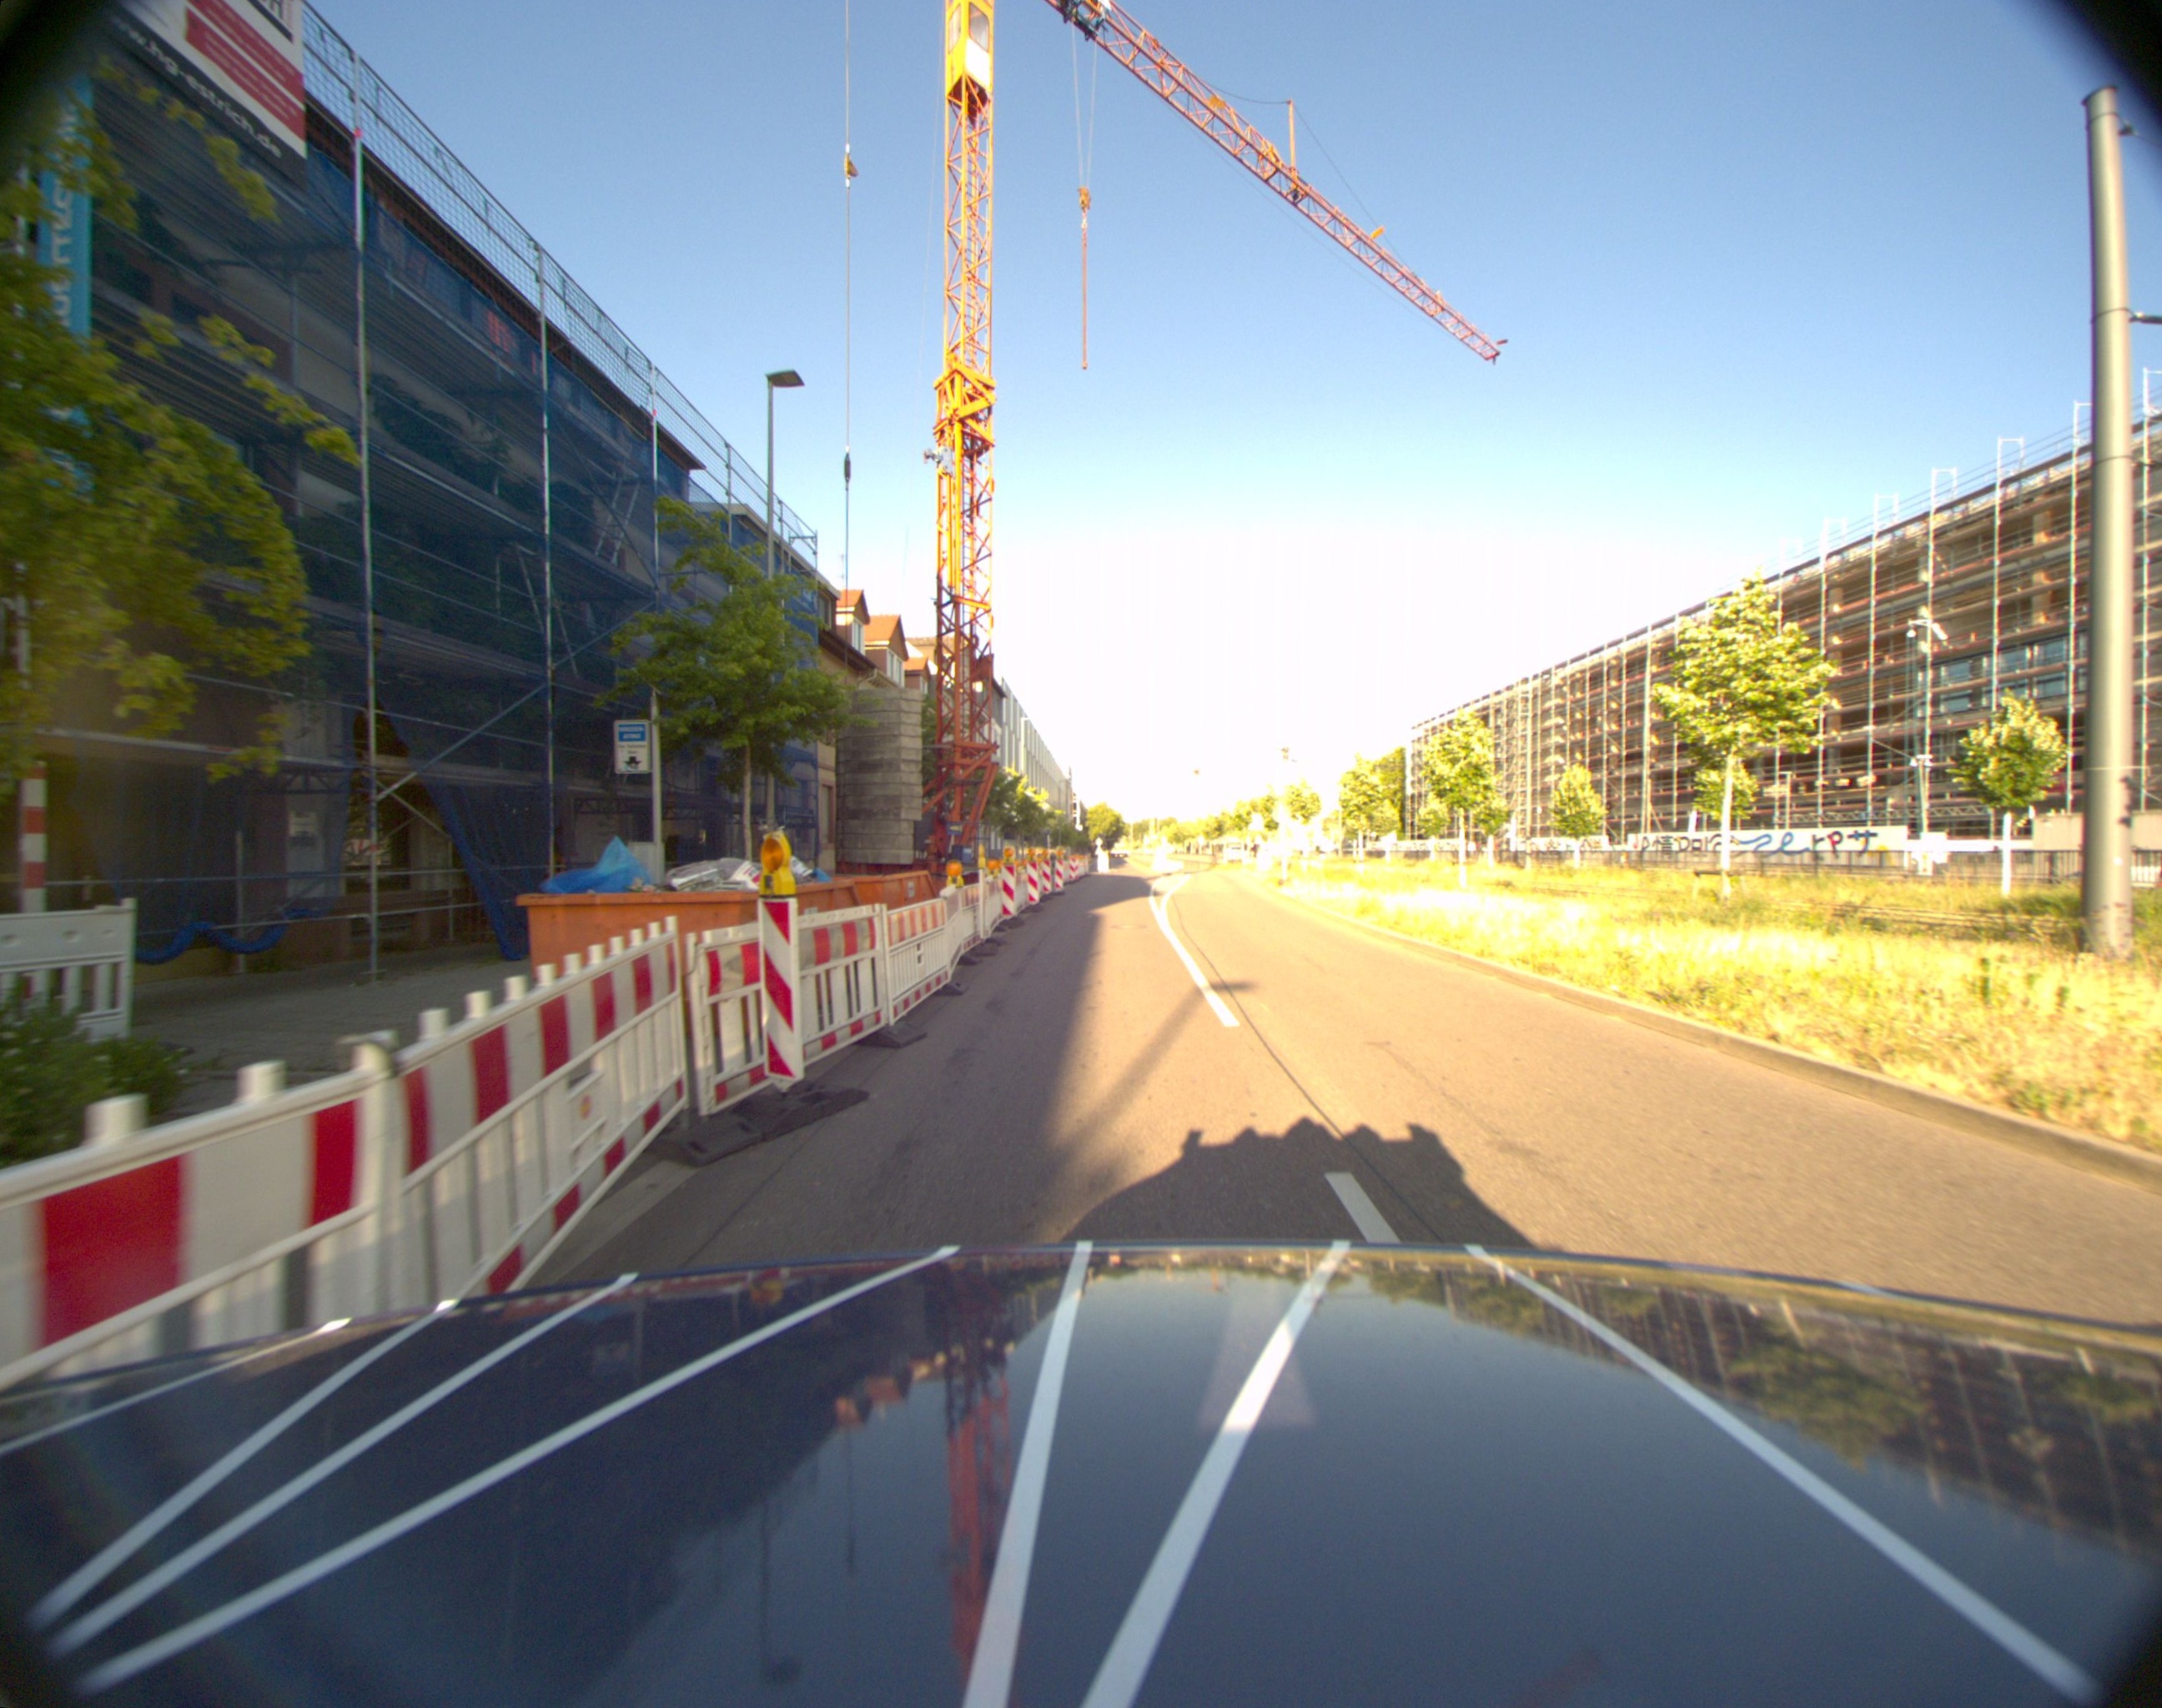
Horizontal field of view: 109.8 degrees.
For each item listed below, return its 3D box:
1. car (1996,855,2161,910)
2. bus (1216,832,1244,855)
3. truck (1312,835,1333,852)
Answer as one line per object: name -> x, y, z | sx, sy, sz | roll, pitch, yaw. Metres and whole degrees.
car -> 31.822, 0.833, 23.870 | 1.608, 1.549, 3.842 | 0, 1, 2
bus -> 21.378, -1.483, 109.140 | 2.723, 3.204, 8.656 | 0, 1, 3
truck -> 37.987, -1.659, 119.569 | 2.143, 2.559, 4.741 | 0, 1, 4
